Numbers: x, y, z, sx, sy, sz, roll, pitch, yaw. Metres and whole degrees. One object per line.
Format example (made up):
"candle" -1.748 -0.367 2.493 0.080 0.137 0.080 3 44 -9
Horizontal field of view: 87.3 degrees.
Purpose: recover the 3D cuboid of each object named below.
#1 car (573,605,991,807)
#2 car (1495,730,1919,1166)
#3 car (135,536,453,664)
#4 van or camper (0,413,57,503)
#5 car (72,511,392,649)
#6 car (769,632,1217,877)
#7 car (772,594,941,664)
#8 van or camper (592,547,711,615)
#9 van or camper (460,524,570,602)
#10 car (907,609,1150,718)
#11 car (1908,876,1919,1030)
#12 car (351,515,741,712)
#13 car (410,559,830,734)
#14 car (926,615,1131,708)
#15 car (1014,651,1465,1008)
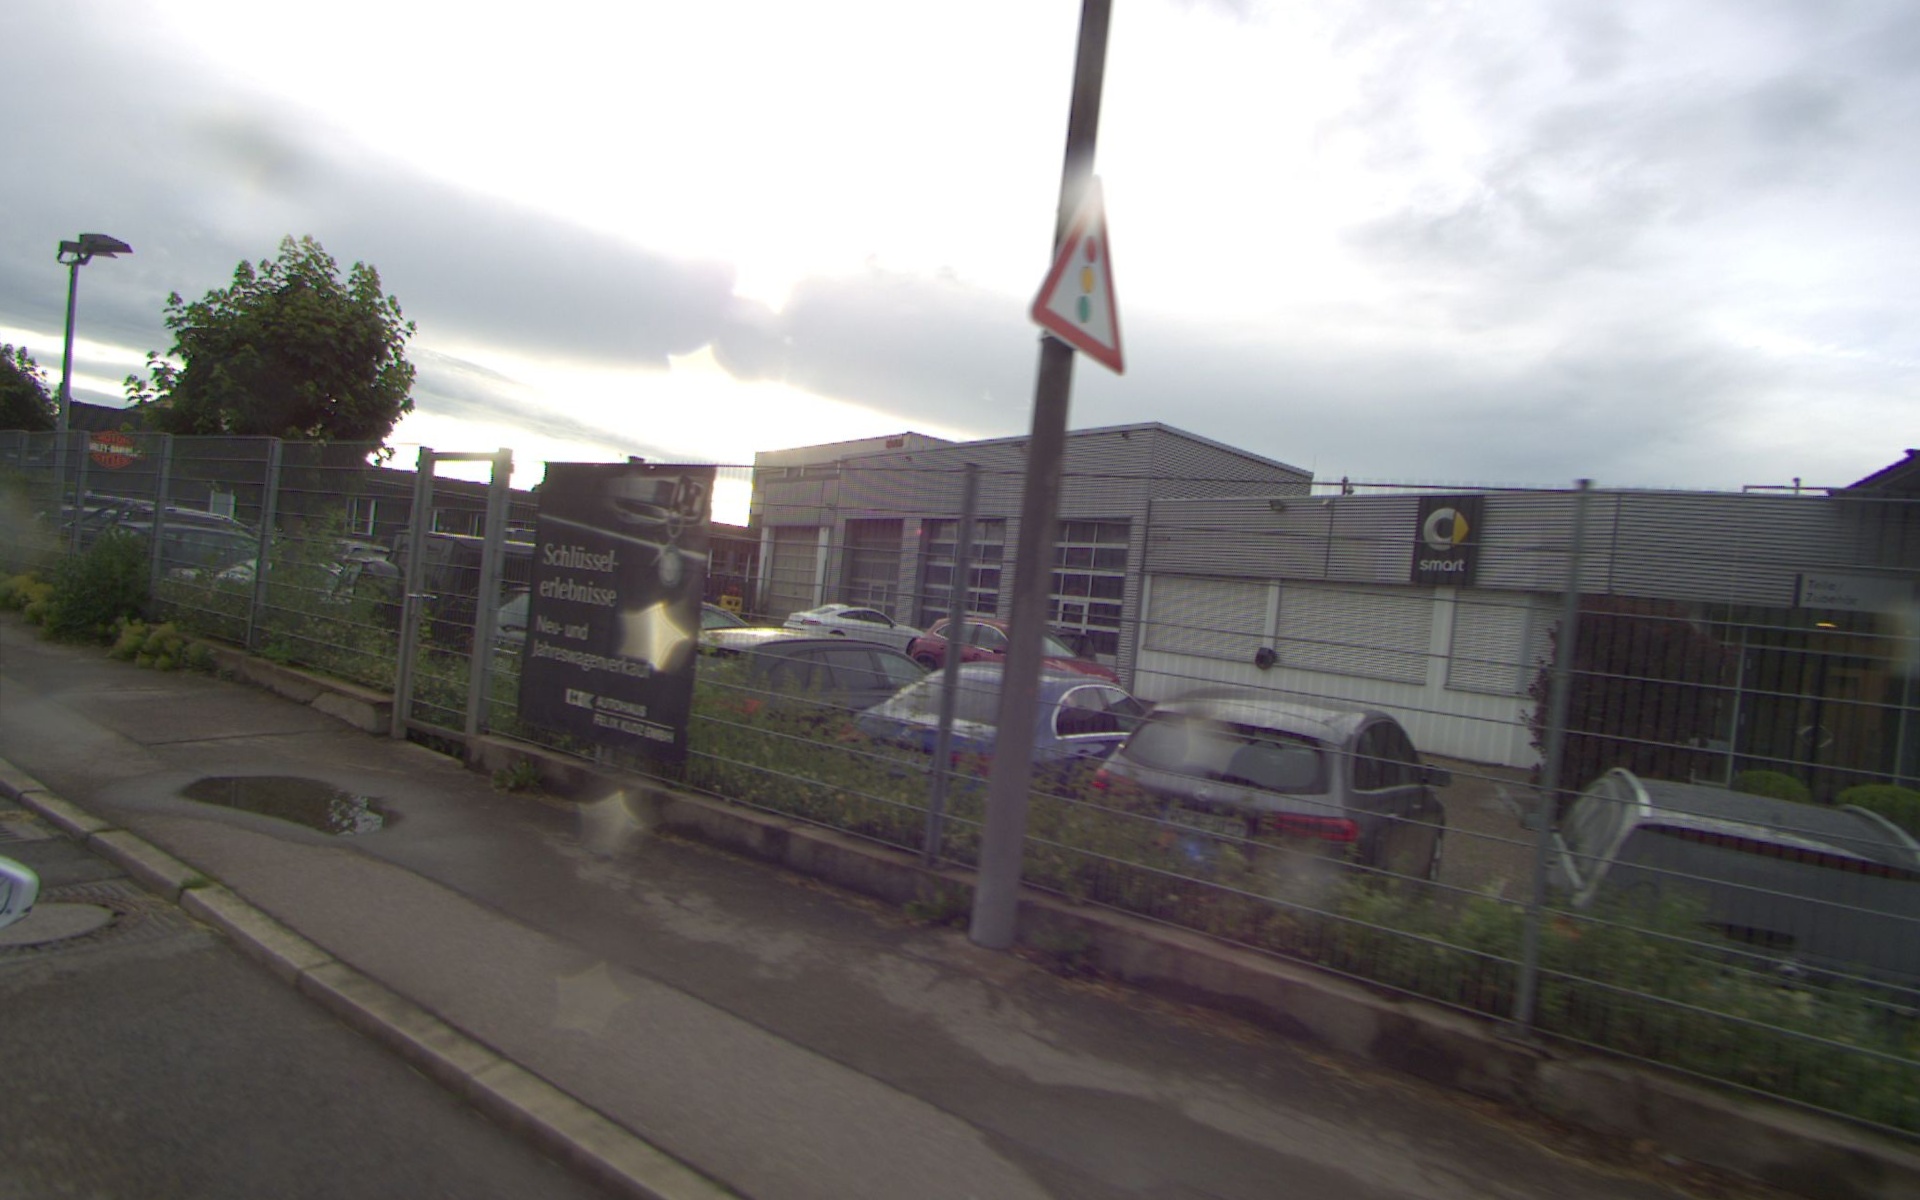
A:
"car" -1.565 1.029 10.188 1.796 1.451 3.991 7 -1 34
"car" 4.062 1.562 5.731 1.566 1.423 4.001 6 -4 27
"car" -10.756 0.078 16.538 1.653 1.525 3.911 5 -4 33
"van or camper" -32.176 -4.782 34.131 2.034 2.625 6.509 6 0 -43
"car" -12.696 -0.269 17.833 1.590 1.791 4.149 5 -4 34
"car" 0.535 1.265 8.730 1.968 1.418 3.995 5 -4 34
"car" -2.970 0.878 29.439 4.615 1.415 1.704 10 -4 -37
"van or camper" -10.954 -0.689 35.427 1.985 1.959 5.376 9 -4 -38
"van or camper" -17.858 -1.549 40.187 2.323 2.589 5.675 6 0 -40
"car" 1.121 1.080 17.854 1.987 1.435 3.957 10 -4 -40
"car" 6.133 1.900 4.311 1.966 1.384 4.120 5 -4 29
"car" -5.004 0.292 12.747 1.745 1.914 4.144 5 -4 33
"car" -3.537 0.599 11.115 1.763 1.419 3.990 5 -4 38
"car" 1.364 1.255 21.185 1.988 1.435 3.957 10 -5 -40
"car" 2.335 1.440 7.388 1.937 1.615 4.183 5 -4 33
